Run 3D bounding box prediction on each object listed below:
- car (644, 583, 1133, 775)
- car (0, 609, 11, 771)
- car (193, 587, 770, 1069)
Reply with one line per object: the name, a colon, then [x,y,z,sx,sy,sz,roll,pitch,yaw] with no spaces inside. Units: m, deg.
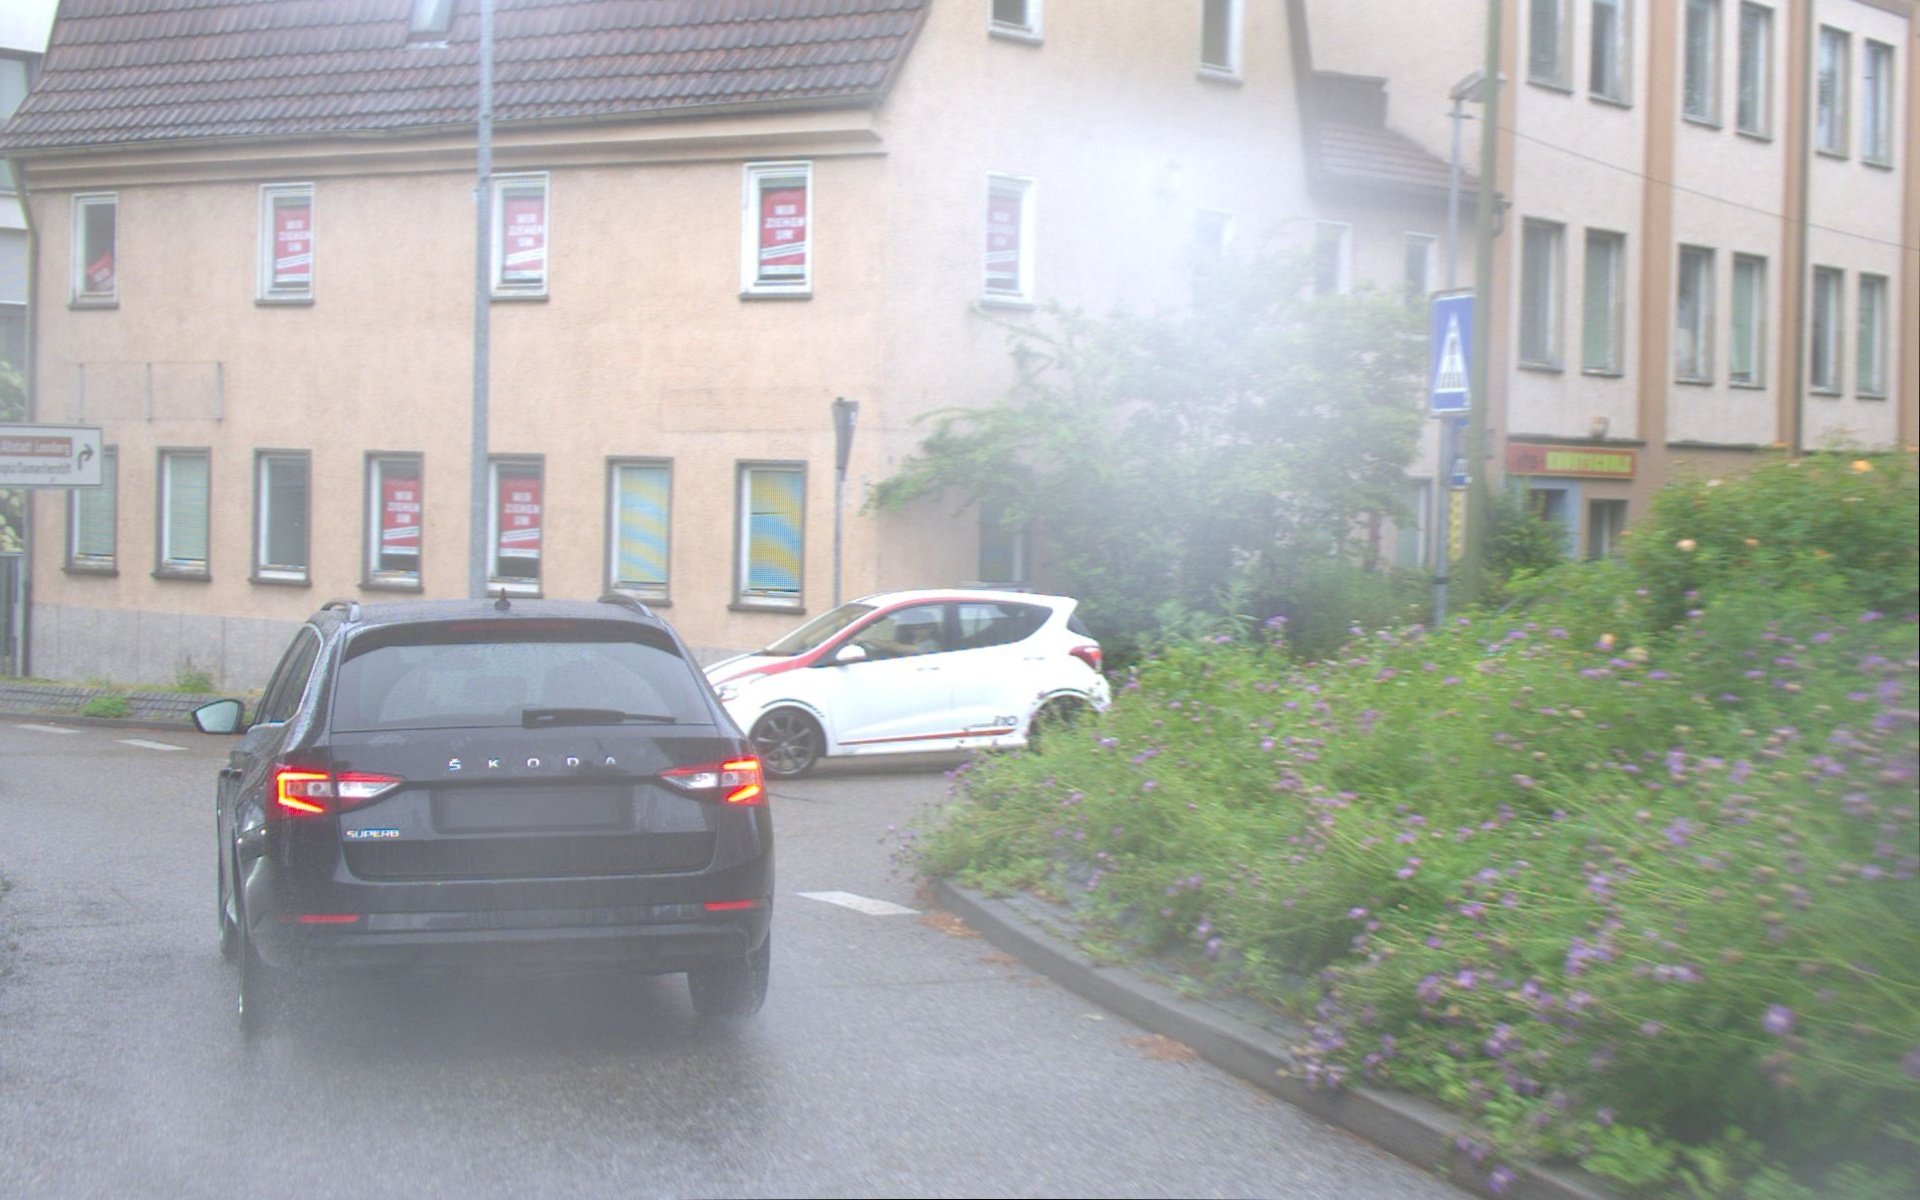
car: [-0.616,0.620,28.672,3.750,1.448,1.713,-1,1,-16]
car: [-9.887,0.682,30.068,1.818,1.355,3.989,0,2,-35]
car: [-1.957,0.716,12.928,1.781,1.478,4.247,-1,0,-13]
